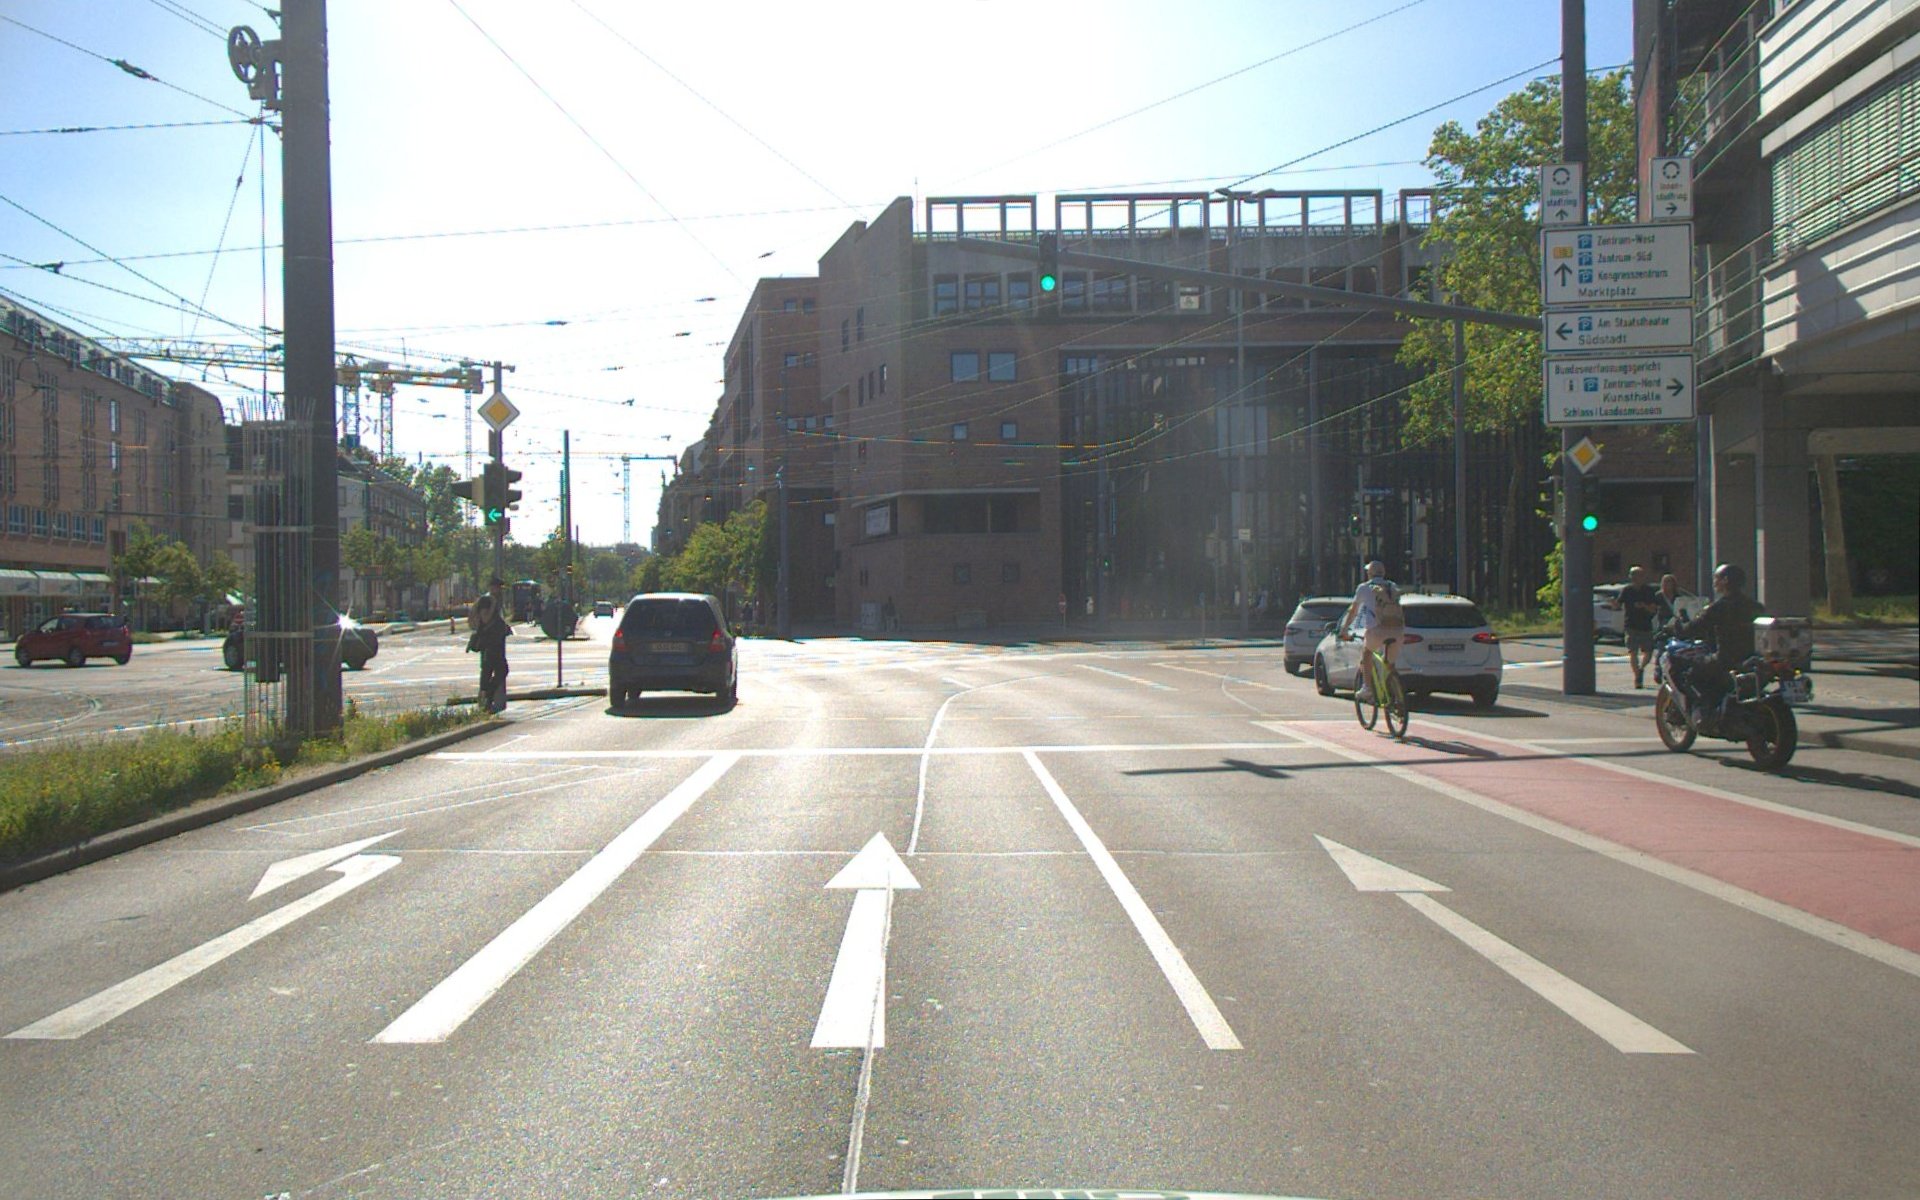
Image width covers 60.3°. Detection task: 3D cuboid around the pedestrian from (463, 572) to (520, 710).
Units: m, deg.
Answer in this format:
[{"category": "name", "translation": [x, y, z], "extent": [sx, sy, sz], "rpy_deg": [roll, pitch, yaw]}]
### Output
[{"category": "pedestrian", "translation": [-6.221, 0.526, 21.971], "extent": [0.658, 1.783, 0.766], "rpy_deg": [-1, 0, -14]}]

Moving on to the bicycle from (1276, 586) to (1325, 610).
[{"category": "bicycle", "translation": [12.698, -0.070, 61.706], "extent": [1.639, 0.820, 0.671], "rpy_deg": [-1, 0, -12]}]

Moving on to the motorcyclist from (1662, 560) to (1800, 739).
[{"category": "motorcyclist", "translation": [7.014, 0.439, 15.091], "extent": [0.812, 1.588, 0.942], "rpy_deg": [0, 0, -2]}]

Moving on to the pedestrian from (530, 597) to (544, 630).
[{"category": "pedestrian", "translation": [-22.917, 0.730, 89.632], "extent": [0.604, 1.698, 0.860], "rpy_deg": [-4, 1, -16]}]

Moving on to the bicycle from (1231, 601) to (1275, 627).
[{"category": "bicycle", "translation": [11.877, 0.572, 67.105], "extent": [1.646, 1.012, 0.669], "rpy_deg": [-1, 0, -23]}]

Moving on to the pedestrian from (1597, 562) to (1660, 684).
[{"category": "pedestrian", "translation": [10.298, 0.355, 25.471], "extent": [0.602, 1.829, 0.631], "rpy_deg": [-3, 1, -37]}]

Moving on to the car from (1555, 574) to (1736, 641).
[{"category": "car", "translation": [17.579, 0.181, 42.480], "extent": [3.920, 1.611, 1.905], "rpy_deg": [1, 2, -15]}]

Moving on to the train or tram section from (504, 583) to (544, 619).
[{"category": "train or tram section", "translation": [-38.796, 0.042, 147.474], "extent": [2.284, 3.055, 13.127], "rpy_deg": [-1, 0, -10]}]

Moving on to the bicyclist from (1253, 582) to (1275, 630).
[{"category": "bicyclist", "translation": [12.342, 0.255, 67.174], "extent": [0.597, 1.917, 0.646], "rpy_deg": [-1, 0, -23]}]

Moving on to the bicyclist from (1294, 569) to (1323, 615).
[{"category": "bicyclist", "translation": [13.022, -0.296, 61.765], "extent": [0.848, 1.658, 0.670], "rpy_deg": [-1, 0, -12]}]

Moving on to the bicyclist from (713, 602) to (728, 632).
[{"category": "bicyclist", "translation": [-12.570, 0.894, 86.733], "extent": [0.656, 1.553, 0.704], "rpy_deg": [-1, 0, -15]}]

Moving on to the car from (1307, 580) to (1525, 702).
[{"category": "car", "translation": [6.560, 0.528, 24.293], "extent": [1.868, 1.611, 4.136], "rpy_deg": [1, 1, -3]}]

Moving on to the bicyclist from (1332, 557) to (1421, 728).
[{"category": "bicyclist", "translation": [4.515, 0.438, 17.970], "extent": [0.636, 1.783, 1.045], "rpy_deg": [-1, 1, -3]}]

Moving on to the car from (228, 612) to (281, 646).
[{"category": "car", "translation": [-34.307, 1.385, 80.510], "extent": [1.582, 1.422, 3.906], "rpy_deg": [-5, 2, -13]}]

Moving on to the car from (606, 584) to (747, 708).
[{"category": "car", "translation": [-3.957, 0.598, 23.559], "extent": [1.693, 1.591, 3.673], "rpy_deg": [-1, 0, -6]}]

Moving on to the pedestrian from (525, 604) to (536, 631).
[{"category": "pedestrian", "translation": [-25.577, 1.046, 98.545], "extent": [0.590, 1.594, 0.910], "rpy_deg": [-1, 0, -15]}]

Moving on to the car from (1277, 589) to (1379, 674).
[{"category": "car", "translation": [7.407, 0.578, 33.442], "extent": [1.865, 1.568, 4.142], "rpy_deg": [1, 1, 12]}]

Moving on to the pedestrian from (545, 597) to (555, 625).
[{"category": "pedestrian", "translation": [-24.478, 0.648, 98.783], "extent": [0.529, 1.684, 0.703], "rpy_deg": [-1, 0, -15]}]

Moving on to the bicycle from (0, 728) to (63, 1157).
[{"category": "bicycle", "translation": [-2.819, 0.905, 3.225], "extent": [0.672, 1.088, 2.697], "rpy_deg": [1, 0, 0]}]

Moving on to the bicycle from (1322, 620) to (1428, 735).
[{"category": "bicycle", "translation": [4.511, 0.816, 18.098], "extent": [0.636, 1.129, 1.757], "rpy_deg": [-1, 1, -2]}]

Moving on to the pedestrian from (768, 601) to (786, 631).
[{"category": "pedestrian", "translation": [-10.936, 0.972, 98.764], "extent": [0.865, 1.747, 0.927], "rpy_deg": [-1, 0, -15]}]

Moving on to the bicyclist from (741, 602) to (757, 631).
[{"category": "bicyclist", "translation": [-9.747, 0.761, 76.368], "extent": [0.583, 1.359, 0.929], "rpy_deg": [-1, 0, -15]}]

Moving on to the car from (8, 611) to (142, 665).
[{"category": "car", "translation": [-25.589, 1.091, 47.826], "extent": [3.502, 1.474, 1.657], "rpy_deg": [-1, 0, 25]}]

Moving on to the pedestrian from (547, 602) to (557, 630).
[{"category": "pedestrian", "translation": [-24.367, 0.955, 98.822], "extent": [0.529, 1.684, 0.892], "rpy_deg": [-1, 0, -15]}]

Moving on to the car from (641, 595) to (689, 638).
[{"category": "car", "translation": [-14.416, 0.804, 80.719], "extent": [1.961, 1.982, 3.984], "rpy_deg": [-1, 0, -15]}]

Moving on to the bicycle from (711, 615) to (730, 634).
[{"category": "bicycle", "translation": [-12.582, 1.285, 86.797], "extent": [0.656, 1.002, 2.575], "rpy_deg": [-1, 0, -15]}]

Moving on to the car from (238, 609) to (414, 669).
[{"category": "car", "translation": [-16.673, 1.019, 43.485], "extent": [4.416, 1.474, 1.731], "rpy_deg": [-1, 0, 25]}]

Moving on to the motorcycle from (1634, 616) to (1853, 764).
[{"category": "motorcycle", "translation": [7.039, 0.762, 15.029], "extent": [0.812, 1.222, 2.389], "rpy_deg": [0, 0, -1]}]

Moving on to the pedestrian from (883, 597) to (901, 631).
[{"category": "pedestrian", "translation": [-3.215, 0.649, 78.526], "extent": [0.607, 1.590, 0.982], "rpy_deg": [-1, 0, -16]}]

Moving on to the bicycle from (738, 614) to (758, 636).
[{"category": "bicycle", "translation": [-9.867, 1.145, 76.837], "extent": [0.593, 1.002, 2.305], "rpy_deg": [-1, 0, -15]}]
